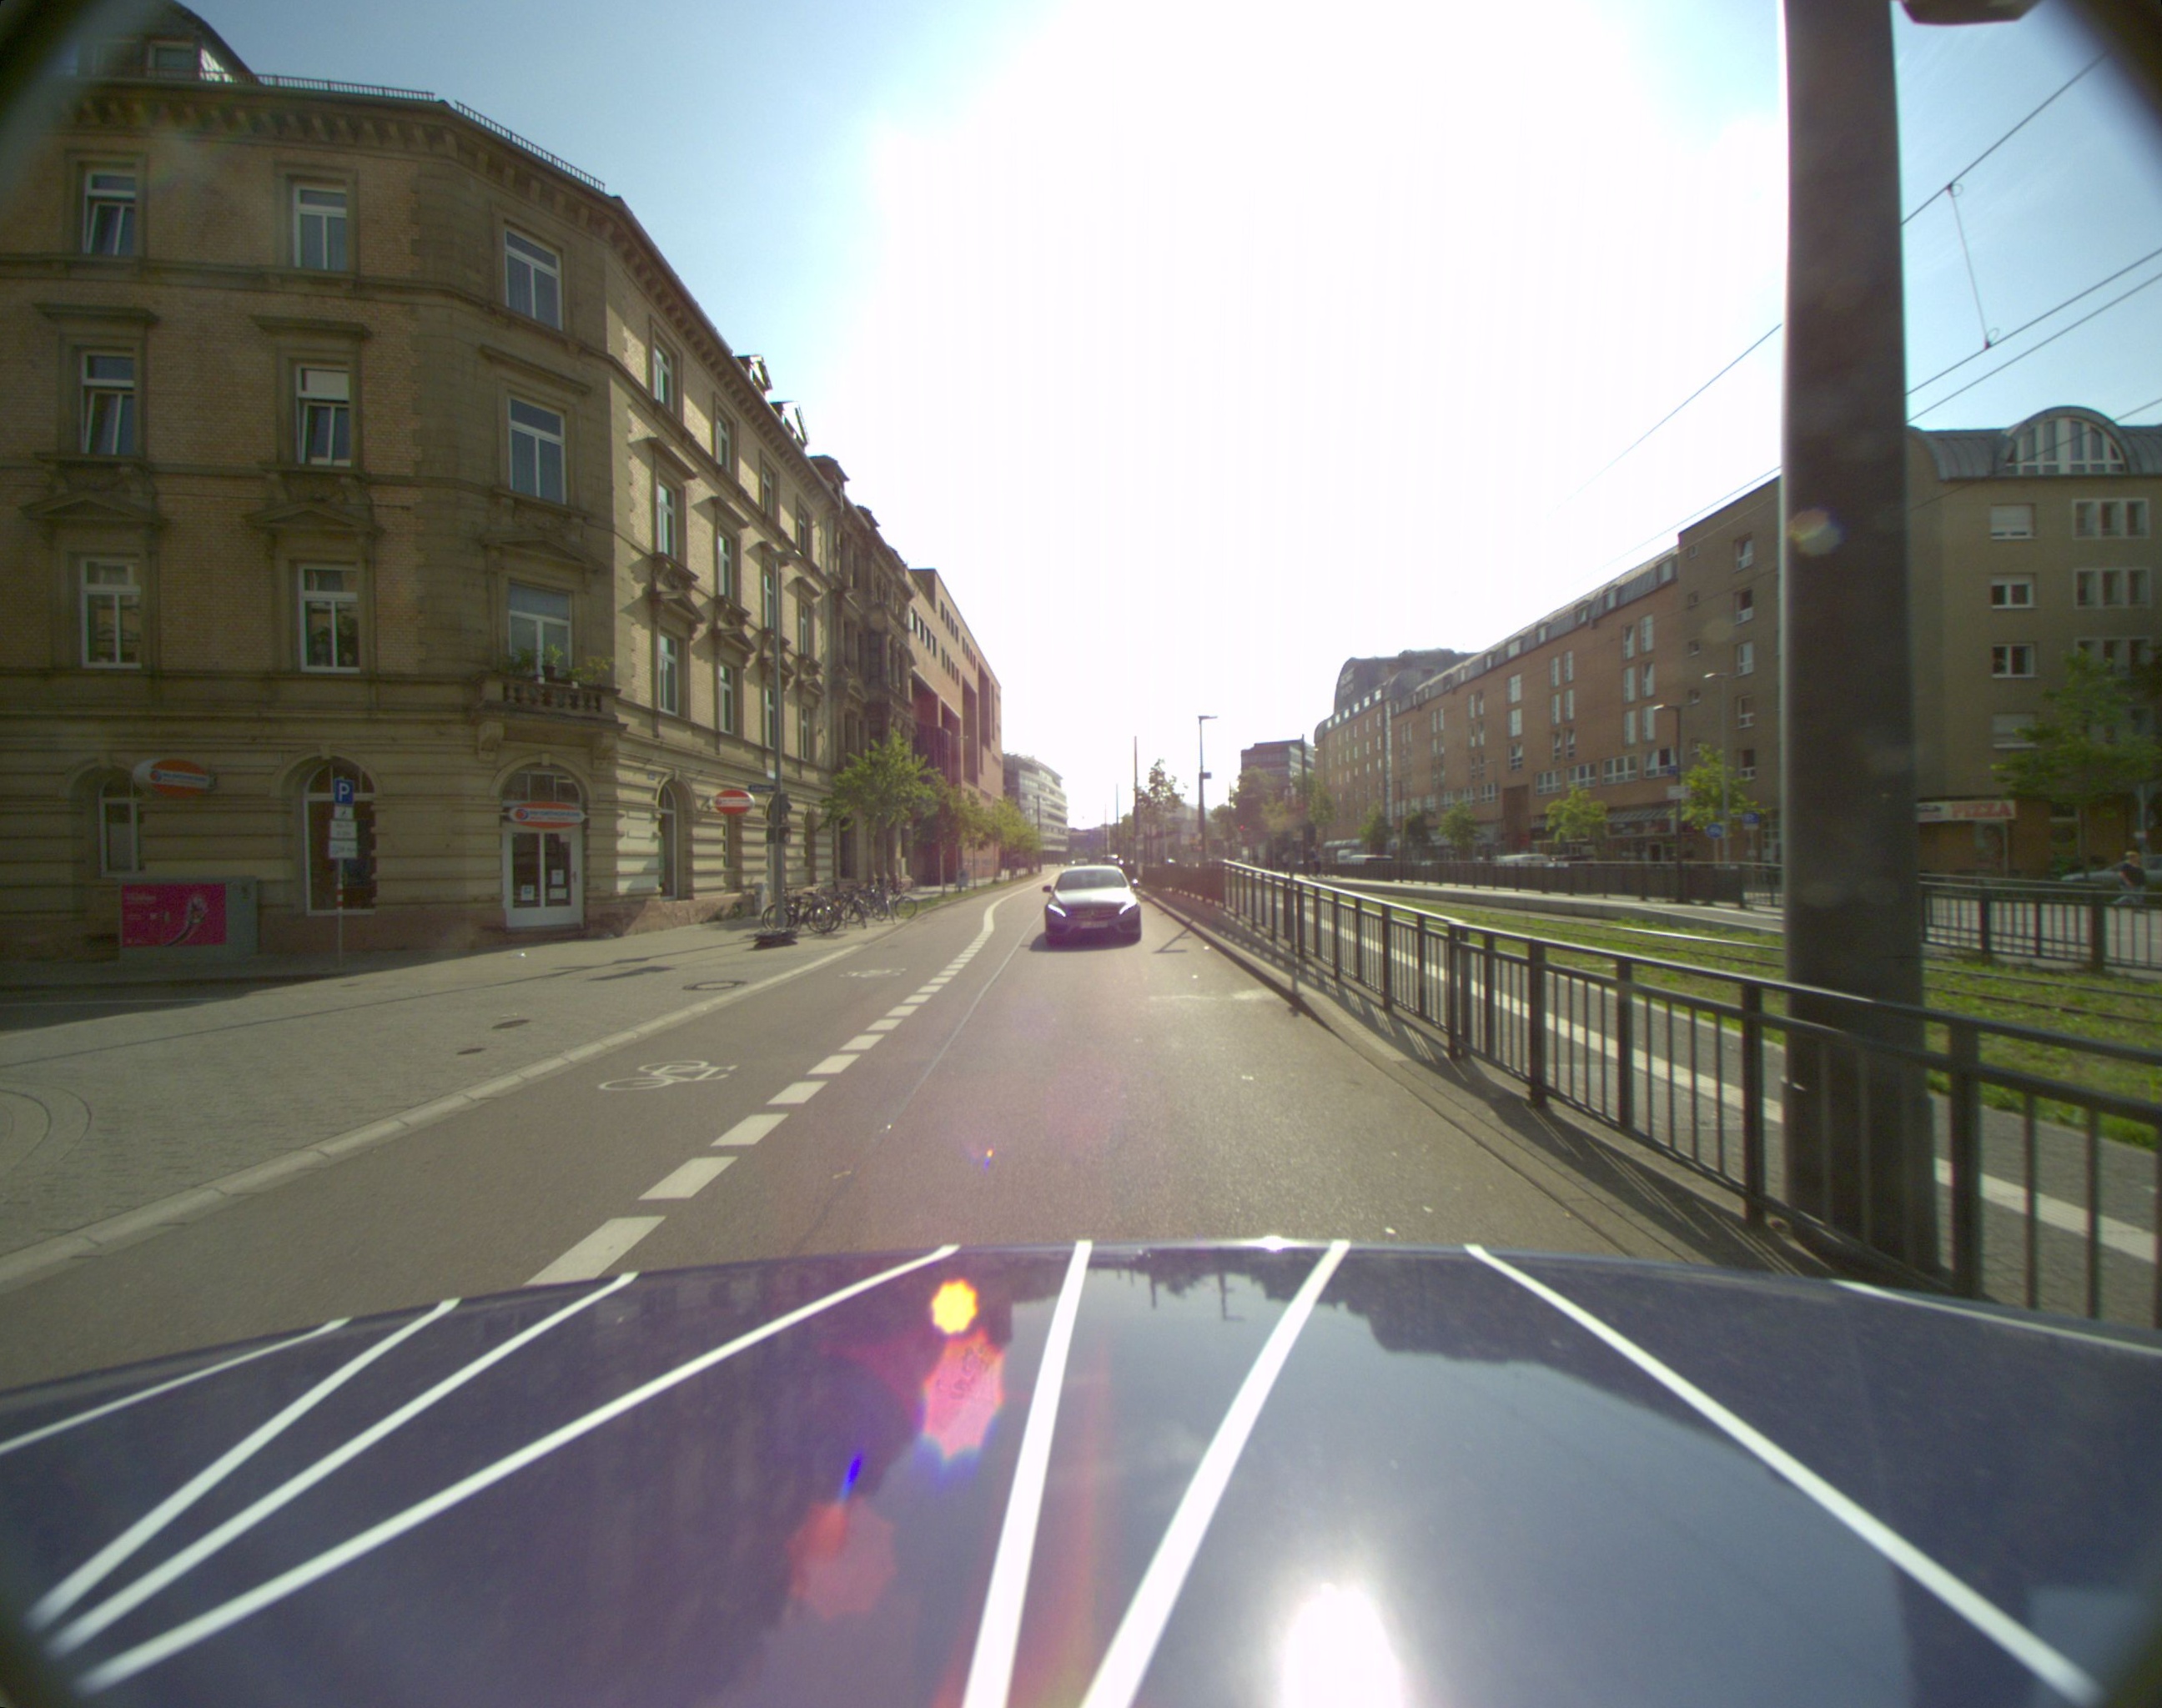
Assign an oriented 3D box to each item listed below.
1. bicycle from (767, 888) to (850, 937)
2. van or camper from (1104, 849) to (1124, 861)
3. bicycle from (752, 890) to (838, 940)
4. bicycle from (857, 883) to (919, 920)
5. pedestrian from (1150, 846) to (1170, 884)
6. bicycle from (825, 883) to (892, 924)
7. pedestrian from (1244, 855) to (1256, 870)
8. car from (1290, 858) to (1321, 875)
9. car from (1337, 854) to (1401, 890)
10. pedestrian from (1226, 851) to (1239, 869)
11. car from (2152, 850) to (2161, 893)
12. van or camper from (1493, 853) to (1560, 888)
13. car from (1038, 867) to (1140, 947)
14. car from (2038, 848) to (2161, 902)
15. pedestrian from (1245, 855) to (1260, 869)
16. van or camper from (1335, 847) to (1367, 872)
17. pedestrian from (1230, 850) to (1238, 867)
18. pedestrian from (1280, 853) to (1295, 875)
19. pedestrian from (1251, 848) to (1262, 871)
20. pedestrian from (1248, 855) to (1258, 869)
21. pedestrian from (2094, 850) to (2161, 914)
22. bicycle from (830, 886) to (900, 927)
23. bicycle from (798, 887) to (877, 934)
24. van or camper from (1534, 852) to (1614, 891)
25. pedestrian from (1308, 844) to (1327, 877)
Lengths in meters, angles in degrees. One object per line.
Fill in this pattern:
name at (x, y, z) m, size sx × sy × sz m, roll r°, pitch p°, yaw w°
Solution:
bicycle at (-6.466, 1.382, 18.054) m, size 1.756 × 1.081 × 0.583 m, roll 1°, pitch 0°, yaw 4°
van or camper at (6.319, 0.158, 146.688) m, size 1.938 × 2.198 × 3.977 m, roll -1°, pitch 0°, yaw -29°
bicycle at (-6.558, 1.390, 17.455) m, size 1.756 × 1.081 × 0.583 m, roll 1°, pitch 0°, yaw 4°
bicycle at (-5.954, 1.463, 23.515) m, size 1.761 × 1.081 × 0.610 m, roll 2°, pitch 0°, yaw -8°
pedestrian at (4.298, 0.610, 41.582) m, size 0.835 × 2.002 × 1.028 m, roll -4°, pitch 1°, yaw -2°
bicycle at (-6.429, 1.432, 22.005) m, size 1.761 × 1.081 × 0.657 m, roll 2°, pitch 0°, yaw -8°
pedestrian at (15.210, 0.758, 68.300) m, size 0.871 × 1.306 × 0.808 m, roll -1°, pitch 0°, yaw -2°
car at (24.793, 1.348, 84.026) m, size 1.999 × 1.794 × 4.632 m, roll -1°, pitch 0°, yaw -1°
car at (17.461, 1.058, 46.343) m, size 1.998 × 2.002 × 4.932 m, roll -1°, pitch 0°, yaw 0°
pedestrian at (14.536, 0.559, 72.884) m, size 0.786 × 1.736 × 0.833 m, roll 0°, pitch 1°, yaw -36°
car at (38.543, 0.582, 24.634) m, size 1.999 × 1.499 × 4.000 m, roll -1°, pitch 0°, yaw -1°
van or camper at (26.983, 0.971, 46.181) m, size 1.997 × 2.002 × 4.002 m, roll -1°, pitch 0°, yaw 6°
car at (0.179, 1.048, 16.599) m, size 1.907 × 1.384 × 4.236 m, roll -2°, pitch 0°, yaw 1°
car at (33.402, 0.628, 23.482) m, size 1.768 × 1.590 × 4.554 m, roll -1°, pitch 0°, yaw -3°
pedestrian at (14.845, 0.691, 65.623) m, size 1.156 × 1.238 × 0.675 m, roll 0°, pitch 0°, yaw 0°
van or camper at (32.009, 0.642, 90.244) m, size 1.998 × 2.785 × 5.353 m, roll -1°, pitch 0°, yaw 1°
pedestrian at (15.795, 0.456, 78.346) m, size 0.652 × 1.750 × 0.698 m, roll -4°, pitch 1°, yaw 2°
pedestrian at (14.729, 0.728, 54.181) m, size 0.679 × 1.521 × 0.810 m, roll -1°, pitch 0°, yaw -30°
pedestrian at (14.464, 0.489, 62.654) m, size 0.807 × 1.875 × 0.555 m, roll -1°, pitch 0°, yaw 0°
pedestrian at (15.026, 0.688, 66.358) m, size 0.793 × 1.238 × 0.675 m, roll 0°, pitch 0°, yaw 0°
pedestrian at (26.581, 0.694, 19.275) m, size 0.680 × 1.574 × 0.808 m, roll -1°, pitch 0°, yaw -2°
bicycle at (-5.921, 1.441, 20.836) m, size 1.763 × 1.081 × 0.671 m, roll 2°, pitch 0°, yaw -22°
bicycle at (-6.175, 1.414, 19.337) m, size 1.758 × 1.081 × 0.669 m, roll 2°, pitch 0°, yaw 6°
van or camper at (26.421, 0.891, 40.890) m, size 1.934 × 1.956 × 4.002 m, roll -1°, pitch 0°, yaw 5°
pedestrian at (13.748, 0.389, 44.191) m, size 0.741 × 1.861 × 0.939 m, roll -1°, pitch 0°, yaw 0°
